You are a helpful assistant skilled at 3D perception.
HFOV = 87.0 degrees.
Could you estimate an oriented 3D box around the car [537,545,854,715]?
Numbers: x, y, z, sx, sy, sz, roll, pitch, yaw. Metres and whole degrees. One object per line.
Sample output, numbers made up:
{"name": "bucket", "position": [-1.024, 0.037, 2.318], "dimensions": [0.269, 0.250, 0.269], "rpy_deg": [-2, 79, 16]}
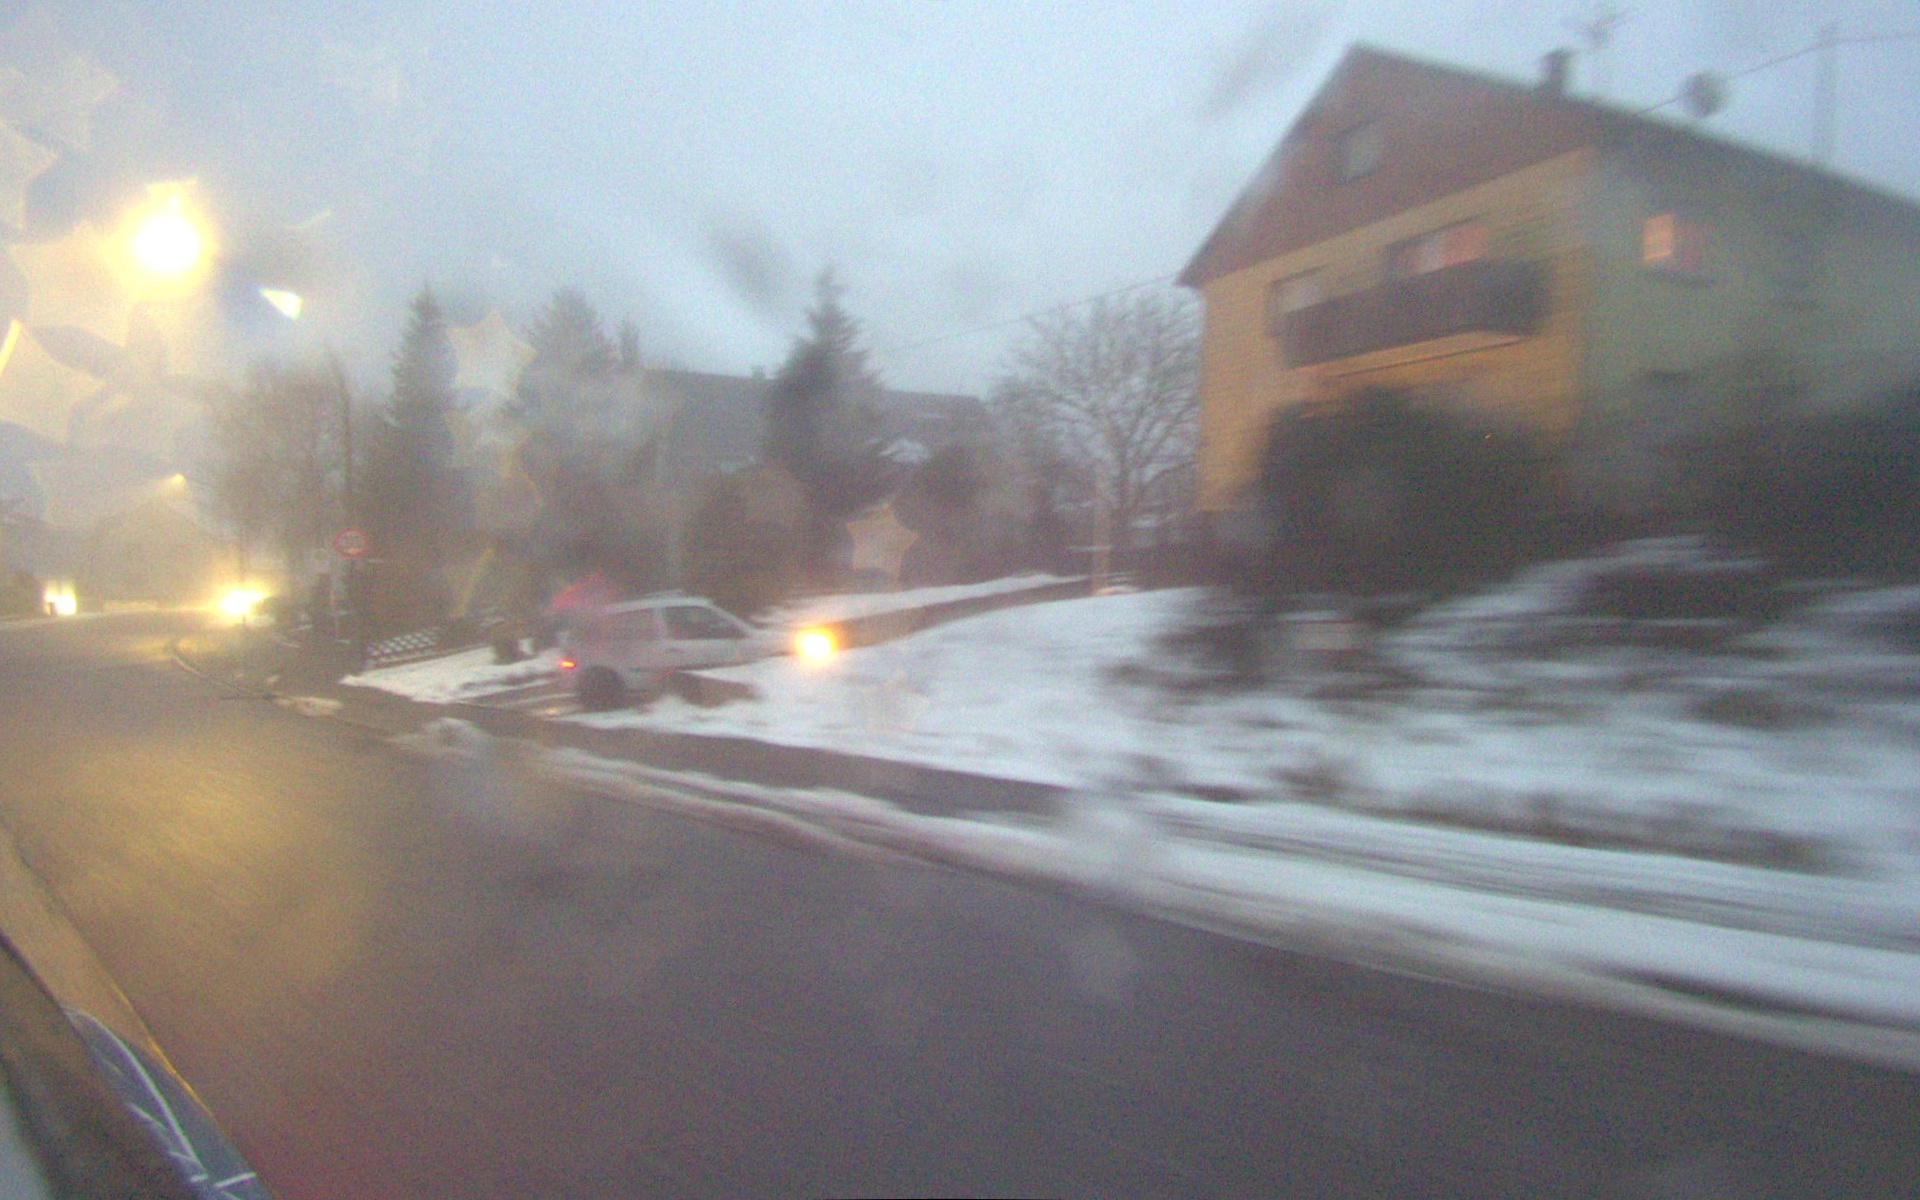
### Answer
{"name": "car", "position": [-3.714, 0.321, 14.532], "dimensions": [3.936, 1.619, 1.909], "rpy_deg": [-9, 7, -13]}
